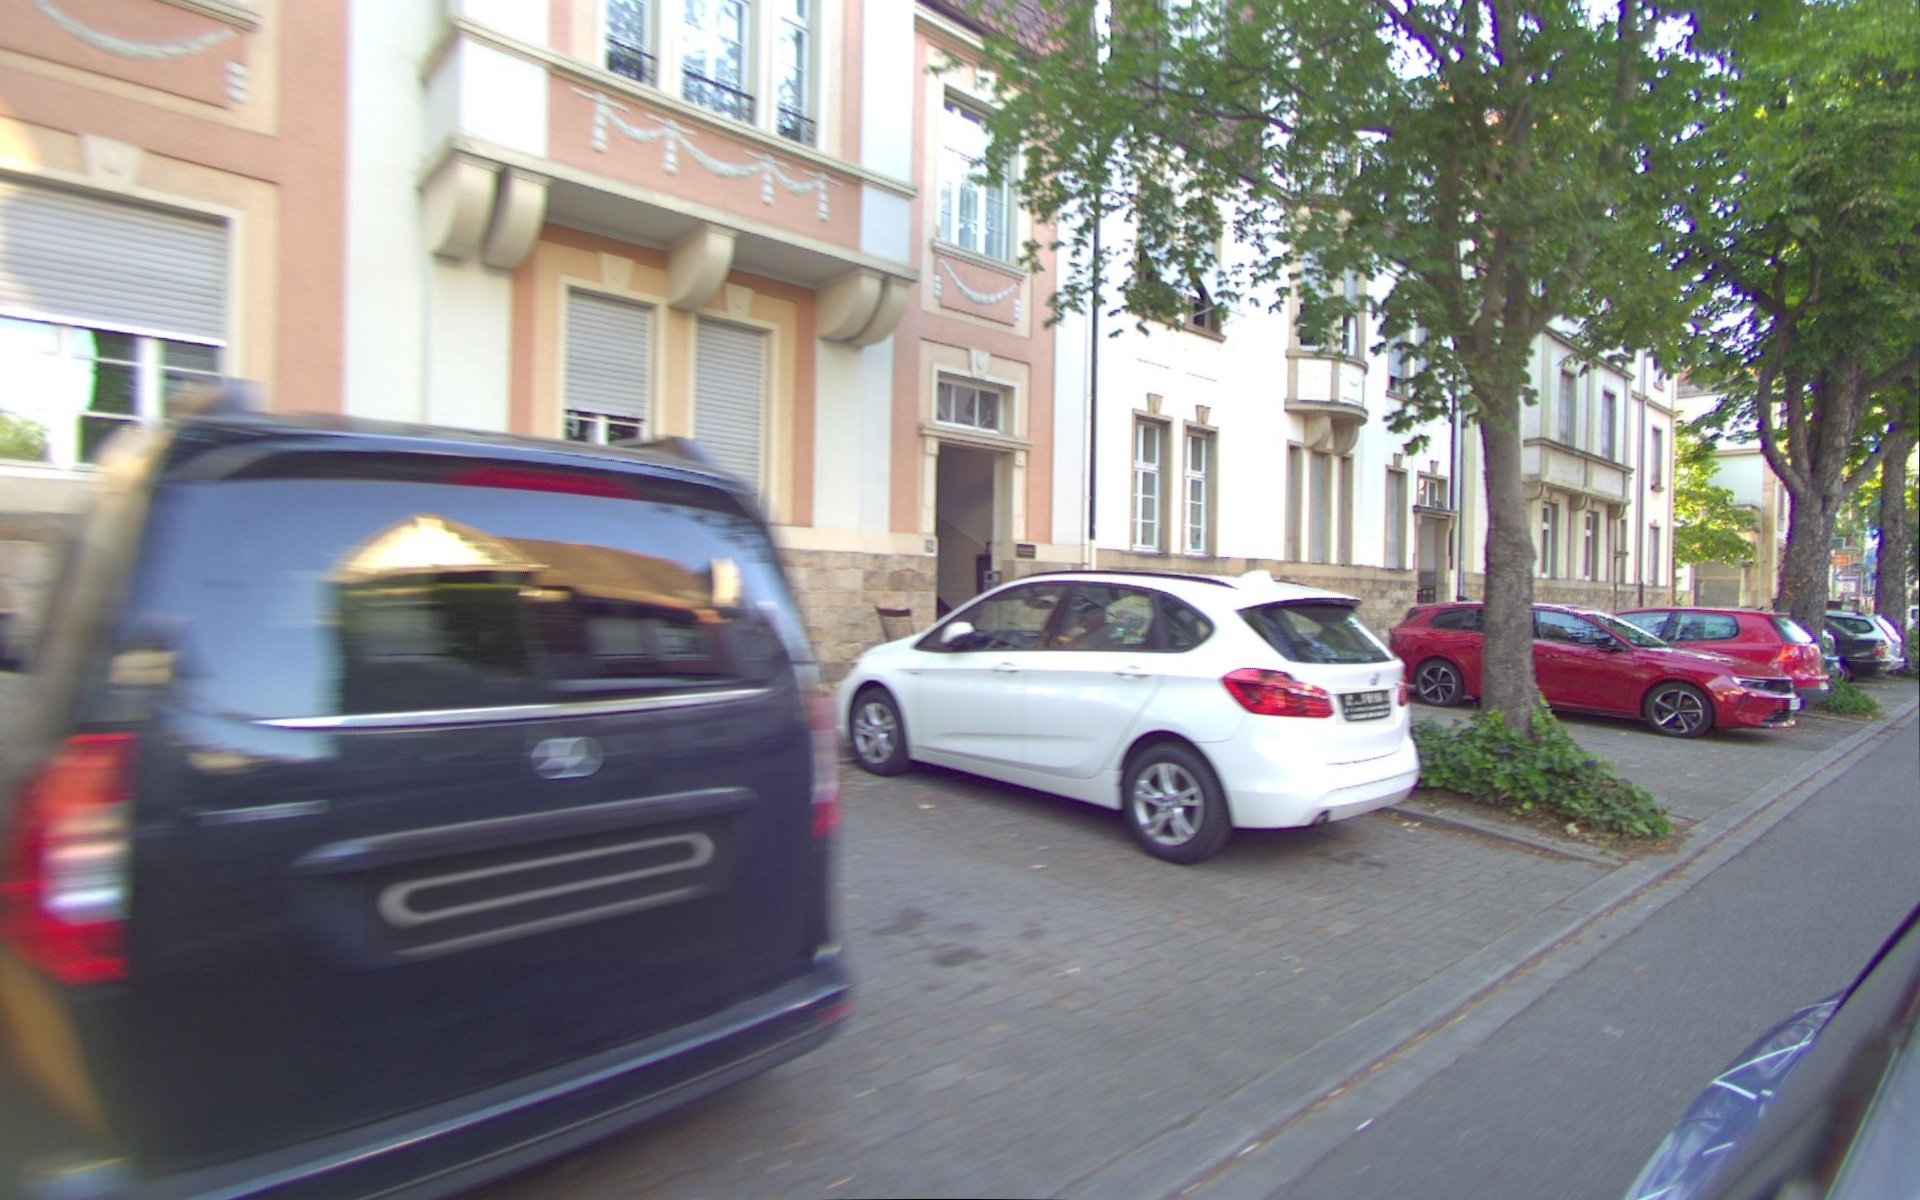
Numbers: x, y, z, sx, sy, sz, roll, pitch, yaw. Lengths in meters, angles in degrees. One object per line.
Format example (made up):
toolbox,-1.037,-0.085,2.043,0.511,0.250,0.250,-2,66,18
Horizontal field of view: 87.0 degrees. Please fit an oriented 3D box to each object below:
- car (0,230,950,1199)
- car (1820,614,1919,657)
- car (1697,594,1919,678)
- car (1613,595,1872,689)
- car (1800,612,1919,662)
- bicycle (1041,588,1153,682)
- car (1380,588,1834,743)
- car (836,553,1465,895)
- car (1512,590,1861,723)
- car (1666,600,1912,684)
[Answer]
car,-2.105,0.356,3.421,1.814,1.860,4.115,1,2,-43
car,27.256,1.050,29.263,1.515,1.076,3.399,1,2,-40
car,18.951,0.742,22.640,1.548,1.577,3.680,1,2,-40
car,14.979,0.731,19.521,1.548,1.484,3.680,1,2,-40
car,24.886,1.004,27.147,1.515,1.164,3.399,1,2,-40
bicycle,1.874,0.453,13.721,1.449,1.173,0.694,1,2,-42
car,8.014,0.671,12.956,1.834,1.470,4.532,1,2,-39
car,1.004,0.527,6.848,1.689,1.597,3.947,1,2,-42
car,10.098,0.681,14.291,1.628,1.500,3.681,1,2,-39
car,17.026,0.792,20.920,1.548,1.416,3.680,1,2,-40
